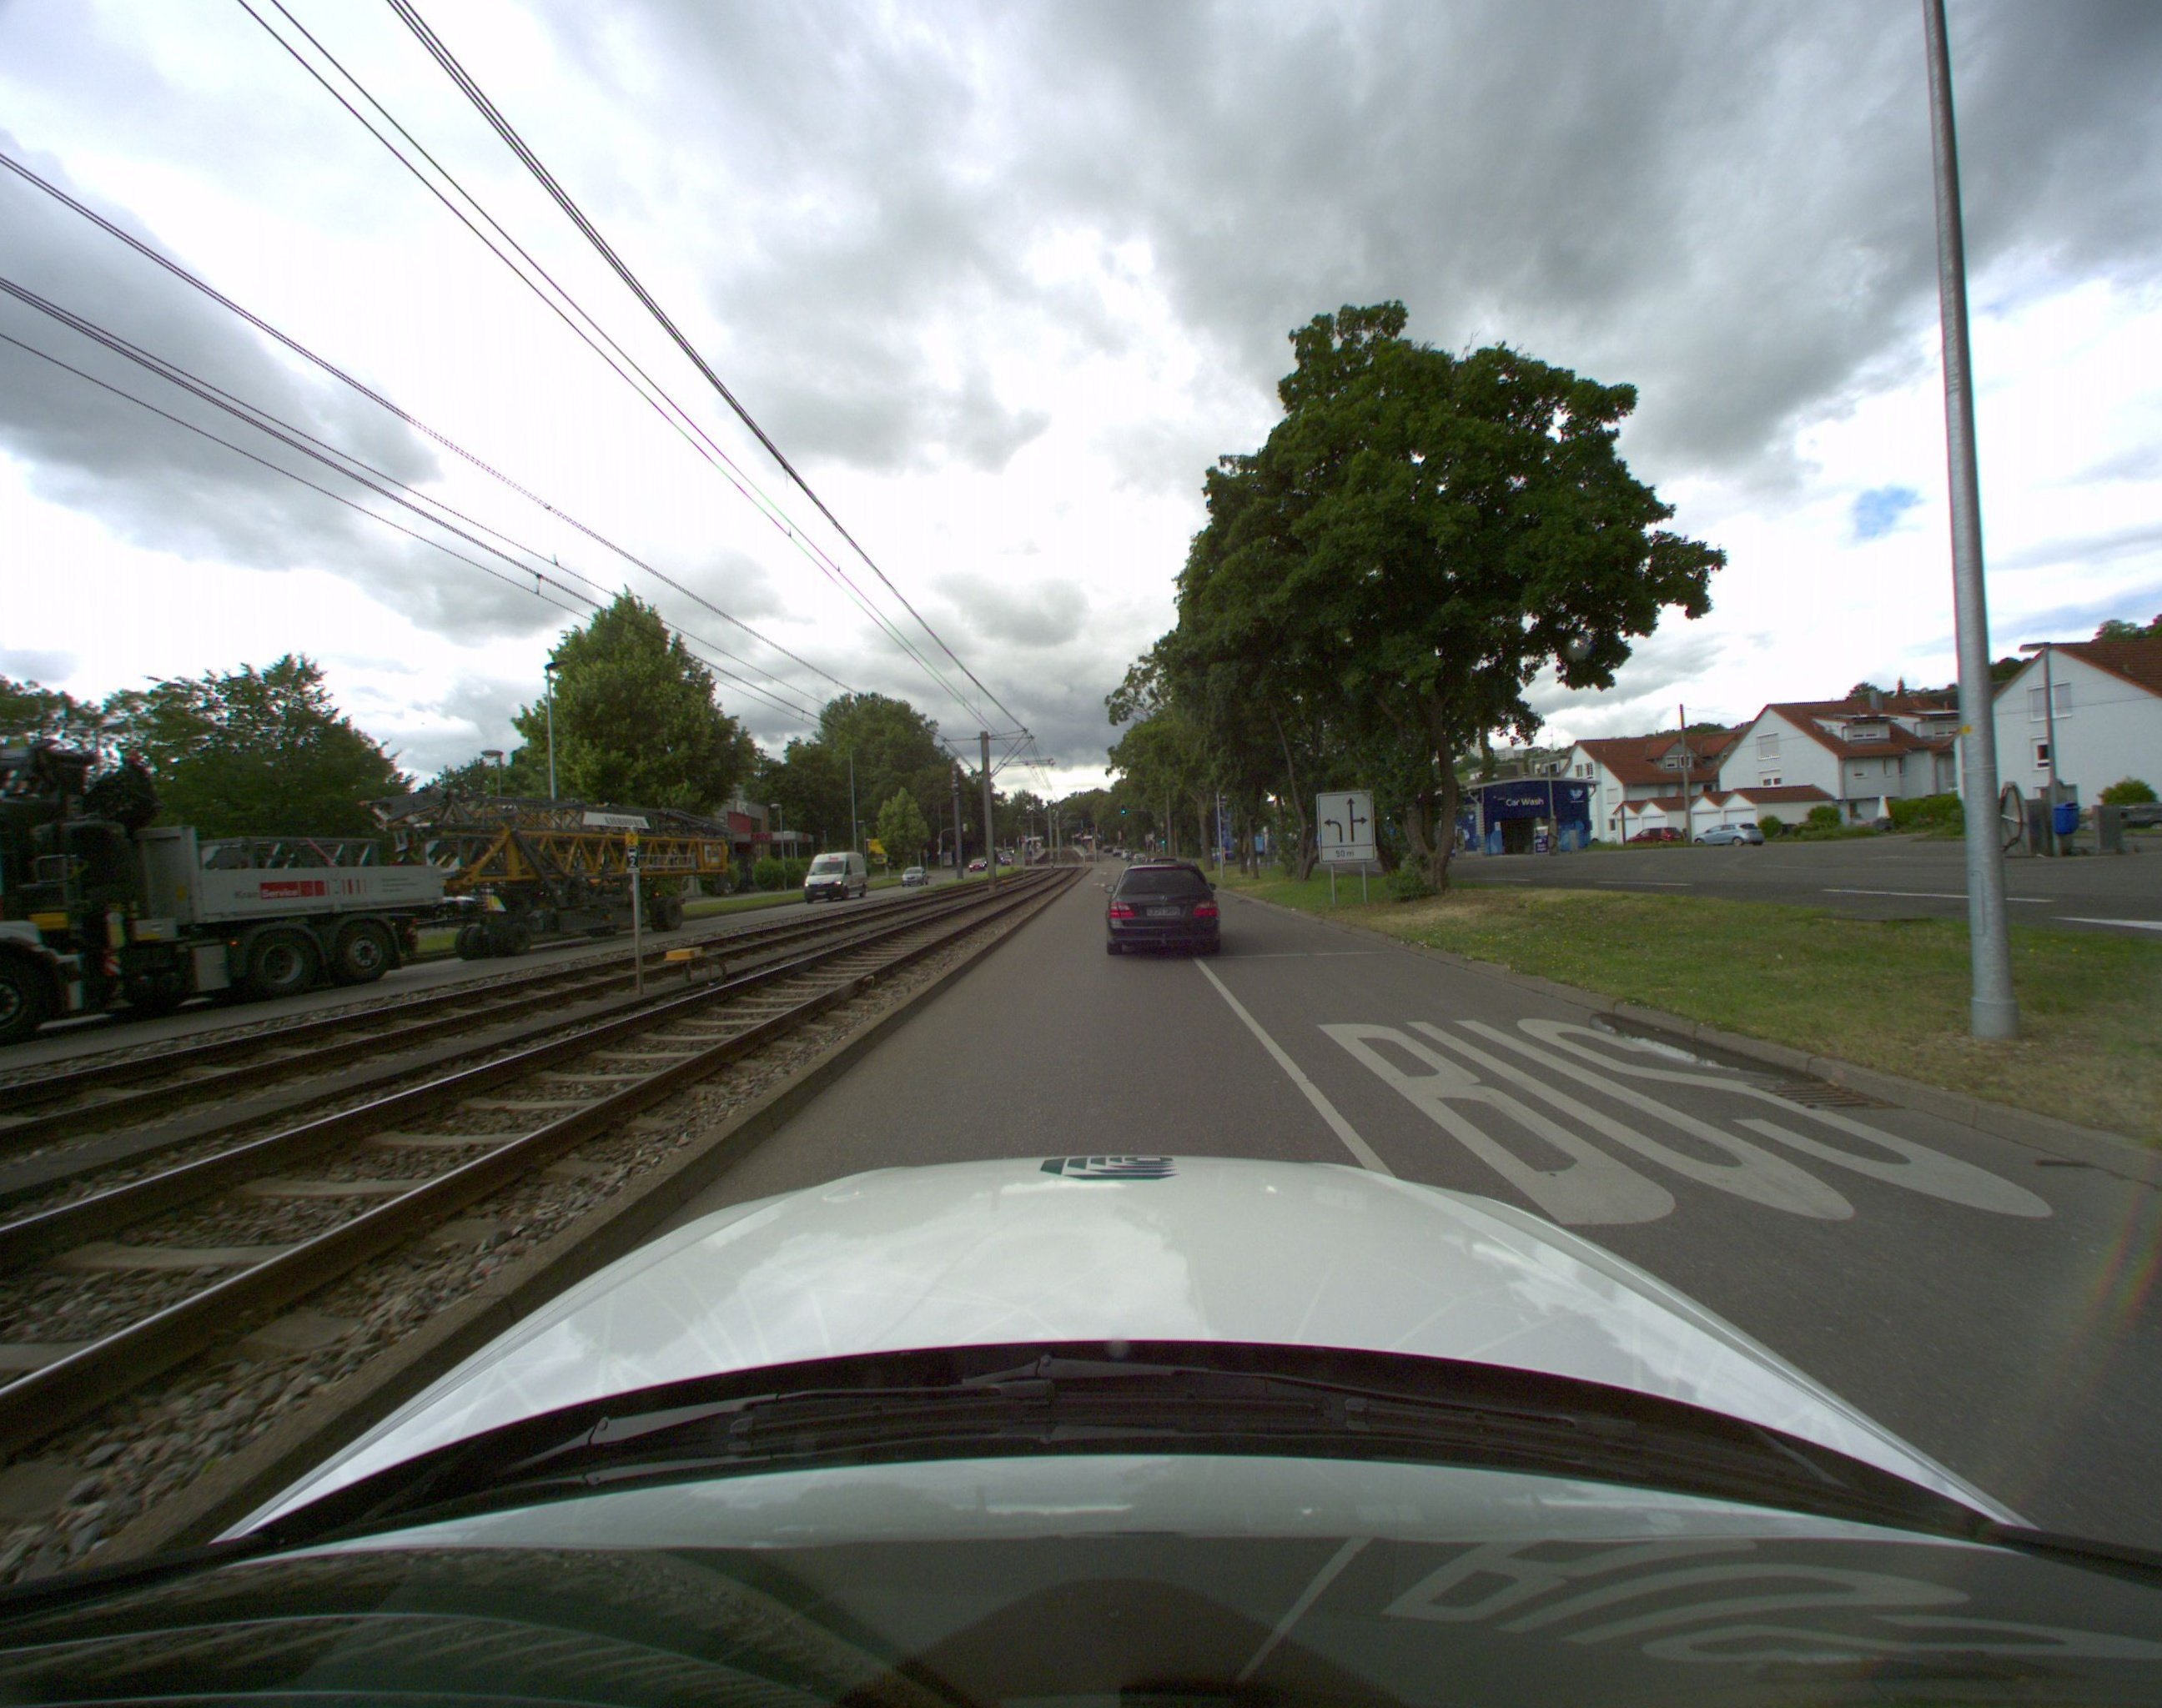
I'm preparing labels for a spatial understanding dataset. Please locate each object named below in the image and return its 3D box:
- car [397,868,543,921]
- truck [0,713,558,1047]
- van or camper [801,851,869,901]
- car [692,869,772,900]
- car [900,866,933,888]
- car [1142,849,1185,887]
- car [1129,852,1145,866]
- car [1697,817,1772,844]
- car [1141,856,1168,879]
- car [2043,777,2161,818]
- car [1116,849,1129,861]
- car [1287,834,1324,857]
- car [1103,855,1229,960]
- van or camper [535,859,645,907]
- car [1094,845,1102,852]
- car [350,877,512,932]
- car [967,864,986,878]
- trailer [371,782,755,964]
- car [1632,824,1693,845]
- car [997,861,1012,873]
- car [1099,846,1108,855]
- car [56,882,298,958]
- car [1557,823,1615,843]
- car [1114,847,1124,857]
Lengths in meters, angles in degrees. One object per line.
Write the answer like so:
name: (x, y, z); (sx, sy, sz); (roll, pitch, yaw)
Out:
car: (-23.064, 1.490, 30.861); (3.978, 1.797, 1.876); (-1, 0, -3)
truck: (-13.259, 0.360, 12.969); (2.698, 3.663, 11.106); (-3, 0, -1)
van or camper: (-12.935, 1.115, 43.230); (1.989, 2.354, 5.759); (-3, 0, -3)
car: (-20.991, 1.801, 49.104); (3.978, 1.599, 1.794); (-3, 0, -3)
car: (-13.243, 1.843, 65.728); (1.758, 1.647, 3.772); (-1, 0, 2)
car: (3.948, 0.653, 39.389); (1.774, 1.750, 3.719); (-1, -1, 2)
car: (7.710, 0.743, 112.013); (1.986, 1.838, 4.001); (-1, 0, 2)
car: (42.299, -1.478, 52.805); (1.533, 1.599, 3.723); (-1, 0, -10)
car: (4.660, 0.847, 51.918); (1.565, 1.414, 3.355); (-1, -1, 2)
car: (50.866, -2.753, 40.339); (1.683, 1.684, 4.002); (-3, 0, 2)
car: (6.508, 0.153, 128.431); (1.986, 1.838, 4.001); (-1, 0, 2)
car: (17.943, -0.728, 64.895); (1.987, 1.682, 4.607); (-3, 0, 26)
car: (1.298, 0.788, 13.792); (1.801, 1.474, 3.882); (-1, 0, 2)
van or camper: (-23.233, 1.356, 38.631); (3.978, 2.135, 1.876); (-1, 0, -3)
car: (4.107, -1.297, 199.541); (1.662, 1.532, 3.768); (-1, 0, -2)
car: (-22.518, 1.723, 28.346); (3.978, 1.599, 1.876); (-3, 0, -3)
car: (-13.035, 2.129, 101.925); (1.758, 1.647, 3.772); (-1, 0, 2)
trailer: (-13.438, 0.414, 23.612); (2.697, 3.660, 13.291); (-3, 0, -1)
car: (41.426, -1.361, 58.099); (1.581, 1.394, 3.406); (-1, 0, -10)
car: (-11.513, 1.961, 122.649); (1.758, 1.647, 3.772); (-1, 0, 2)
car: (5.078, -0.795, 184.832); (1.986, 1.838, 4.001); (-1, 0, 2)
car: (-23.372, 1.680, 21.189); (3.978, 1.599, 1.876); (-3, 0, -3)
car: (46.001, -1.928, 74.198); (4.203, 1.684, 1.777); (-1, -1, -1)
car: (6.713, -0.328, 143.526); (1.643, 1.554, 3.650); (-1, 0, 2)
